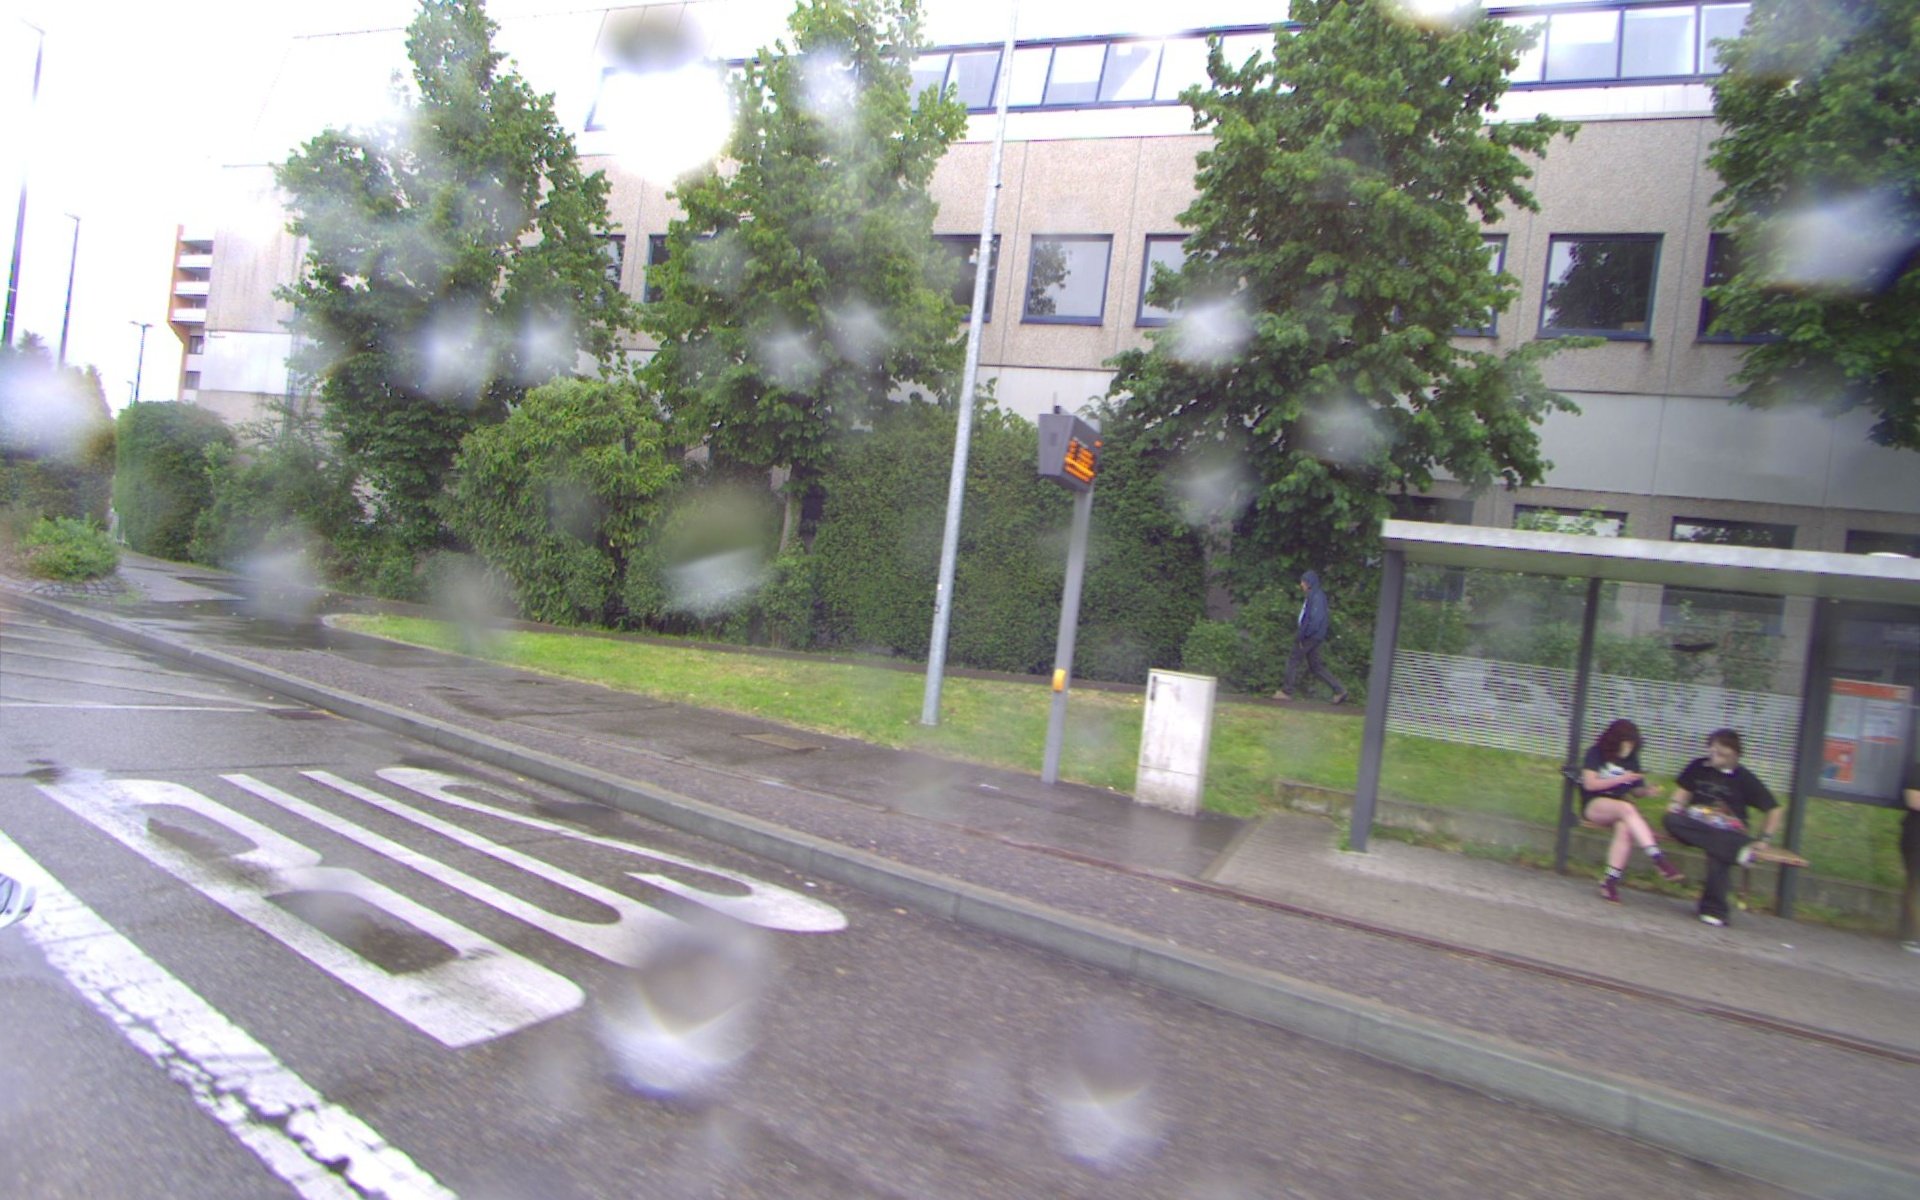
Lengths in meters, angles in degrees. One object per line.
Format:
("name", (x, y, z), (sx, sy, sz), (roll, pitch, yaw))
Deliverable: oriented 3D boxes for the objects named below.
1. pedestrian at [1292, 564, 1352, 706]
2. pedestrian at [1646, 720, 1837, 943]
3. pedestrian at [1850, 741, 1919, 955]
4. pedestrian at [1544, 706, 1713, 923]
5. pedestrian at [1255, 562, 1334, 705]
("pedestrian", (4.826, 0.469, 13.427), (0.661, 1.819, 0.674), (3, -1, 19))
("pedestrian", (5.580, 1.607, 7.261), (0.679, 1.298, 1.032), (8, 2, 22))
("pedestrian", (6.689, 1.718, 6.953), (0.406, 1.383, 0.539), (5, 3, -25))
("pedestrian", (4.842, 1.508, 7.365), (0.679, 1.298, 1.032), (8, 2, 22))
("pedestrian", (4.598, 0.469, 13.803), (0.782, 1.817, 0.850), (7, 0, 22))
